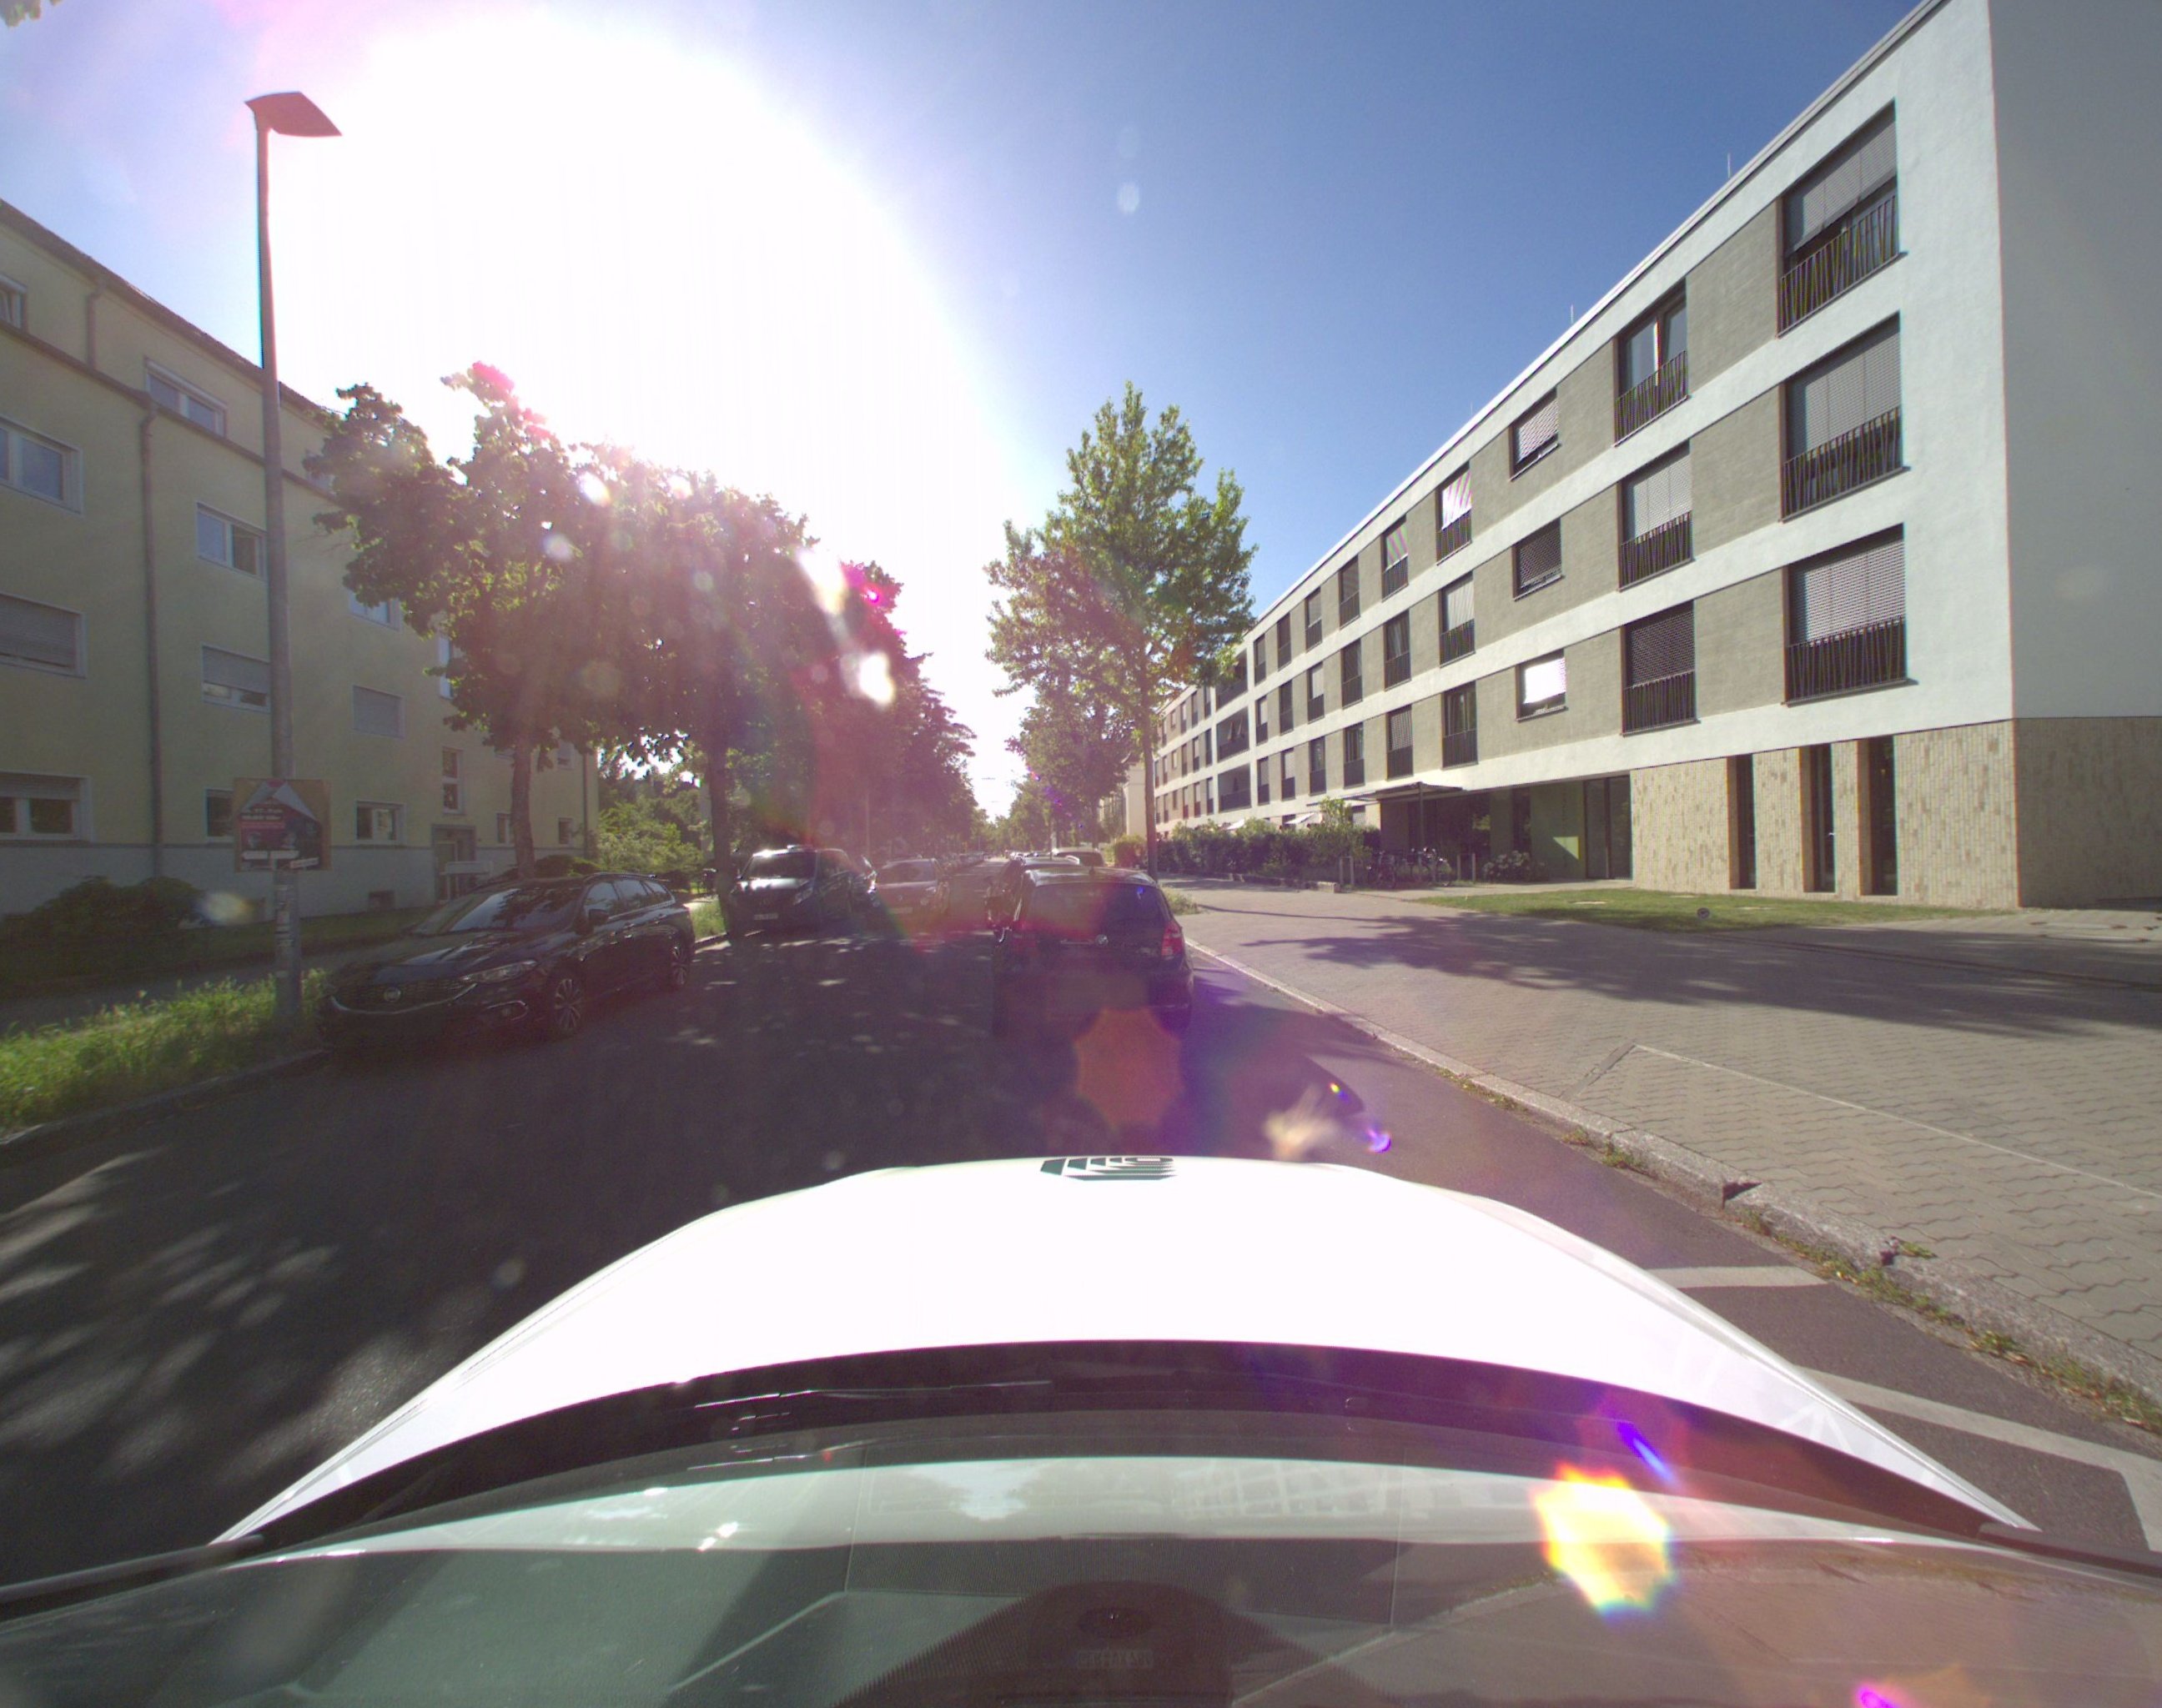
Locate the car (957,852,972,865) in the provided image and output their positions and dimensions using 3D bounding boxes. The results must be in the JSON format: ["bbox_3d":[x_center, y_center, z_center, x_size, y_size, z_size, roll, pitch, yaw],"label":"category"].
[{"bbox_3d":[-13.796,0.511,96.586,1.610,1.392,3.857,-3,0,-6],"label":"car"}]

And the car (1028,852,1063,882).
[{"bbox_3d":[-1.945,0.649,43.086,1.718,1.528,3.994,0,0,-4],"label":"car"}]

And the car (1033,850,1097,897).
[{"bbox_3d":[-0.634,0.635,28.736,1.693,1.524,3.987,-1,0,-9],"label":"car"}]

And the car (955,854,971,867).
[{"bbox_3d":[-13.216,0.707,91.203,1.610,1.392,3.857,-3,0,-6],"label":"car"}]

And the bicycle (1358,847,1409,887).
[{"bbox_3d":[8.373,0.349,22.579,0.545,1.055,1.687,-3,0,-8],"label":"bicycle"}]

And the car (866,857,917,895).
[{"bbox_3d":[-8.136,0.904,35.203,1.610,1.427,3.717,-3,0,-6],"label":"car"}]

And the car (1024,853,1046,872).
[{"bbox_3d":[-3.650,0.648,64.108,1.718,1.379,3.845,0,0,-4],"label":"car"}]

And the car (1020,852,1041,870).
[{"bbox_3d":[-4.276,0.597,68.846,1.718,1.480,3.845,0,0,-4],"label":"car"}]

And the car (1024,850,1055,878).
[{"bbox_3d":[-2.536,0.582,49.053,1.718,1.641,3.845,0,0,-4],"label":"car"}]

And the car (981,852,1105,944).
[{"bbox_3d":[-0.853,0.713,15.381,1.651,1.425,3.984,-2,0,-12],"label":"car"}]

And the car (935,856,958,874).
[{"bbox_3d":[-11.071,0.882,67.133,1.610,1.392,3.857,-3,0,-6],"label":"car"}]

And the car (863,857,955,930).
[{"bbox_3d":[-3.845,0.821,18.620,1.502,1.426,3.175,-2,0,-3],"label":"car"}]

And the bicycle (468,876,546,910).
[{"bbox_3d":[-18.468,1.249,26.241,1.924,0.991,0.594,-2,0,-13],"label":"bicycle"}]

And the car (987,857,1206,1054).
[{"bbox_3d":[-0.043,0.777,7.954,1.647,1.396,3.404,-2,0,-6],"label":"car"}]

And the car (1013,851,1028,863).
[{"bbox_3d":[-7.669,0.401,103.910,1.717,1.480,3.847,-3,0,-3],"label":"car"}]

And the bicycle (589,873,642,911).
[{"bbox_3d":[-13.802,1.113,24.220,0.594,0.991,1.924,-2,0,-5],"label":"bicycle"}]

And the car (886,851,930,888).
[{"bbox_3d":[-8.572,0.732,40.618,1.610,1.678,4.225,-3,0,-6],"label":"car"}]

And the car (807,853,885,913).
[{"bbox_3d":[-7.076,0.804,24.876,1.611,1.611,4.218,-3,0,-8],"label":"car"}]

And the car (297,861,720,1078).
[{"bbox_3d":[-5.575,0.927,8.838,1.505,1.548,4.768,-4,0,-6],"label":"car"}]

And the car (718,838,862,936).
[{"bbox_3d":[-6.627,0.667,19.207,1.823,1.904,5.133,-3,0,-5],"label":"car"}]

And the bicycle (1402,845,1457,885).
[{"bbox_3d":[9.723,0.299,22.766,0.545,1.055,1.775,-3,0,-8],"label":"bicycle"}]

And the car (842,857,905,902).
[{"bbox_3d":[-7.600,0.892,30.148,1.610,1.427,4.049,-3,0,-6],"label":"car"}]

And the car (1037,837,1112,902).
[{"bbox_3d":[-0.288,0.415,23.026,1.844,1.631,4.404,-1,0,-4],"label":"car"}]

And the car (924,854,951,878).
[{"bbox_3d":[-10.144,0.833,57.740,1.610,1.543,3.857,-3,0,-6],"label":"car"}]

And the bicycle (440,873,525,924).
[{"bbox_3d":[-13.382,0.969,18.282,0.594,0.991,1.924,-2,0,-5],"label":"bicycle"}]

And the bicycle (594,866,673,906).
[{"bbox_3d":[-14.799,1.051,26.994,2.150,1.208,0.686,-2,0,-17],"label":"bicycle"}]
